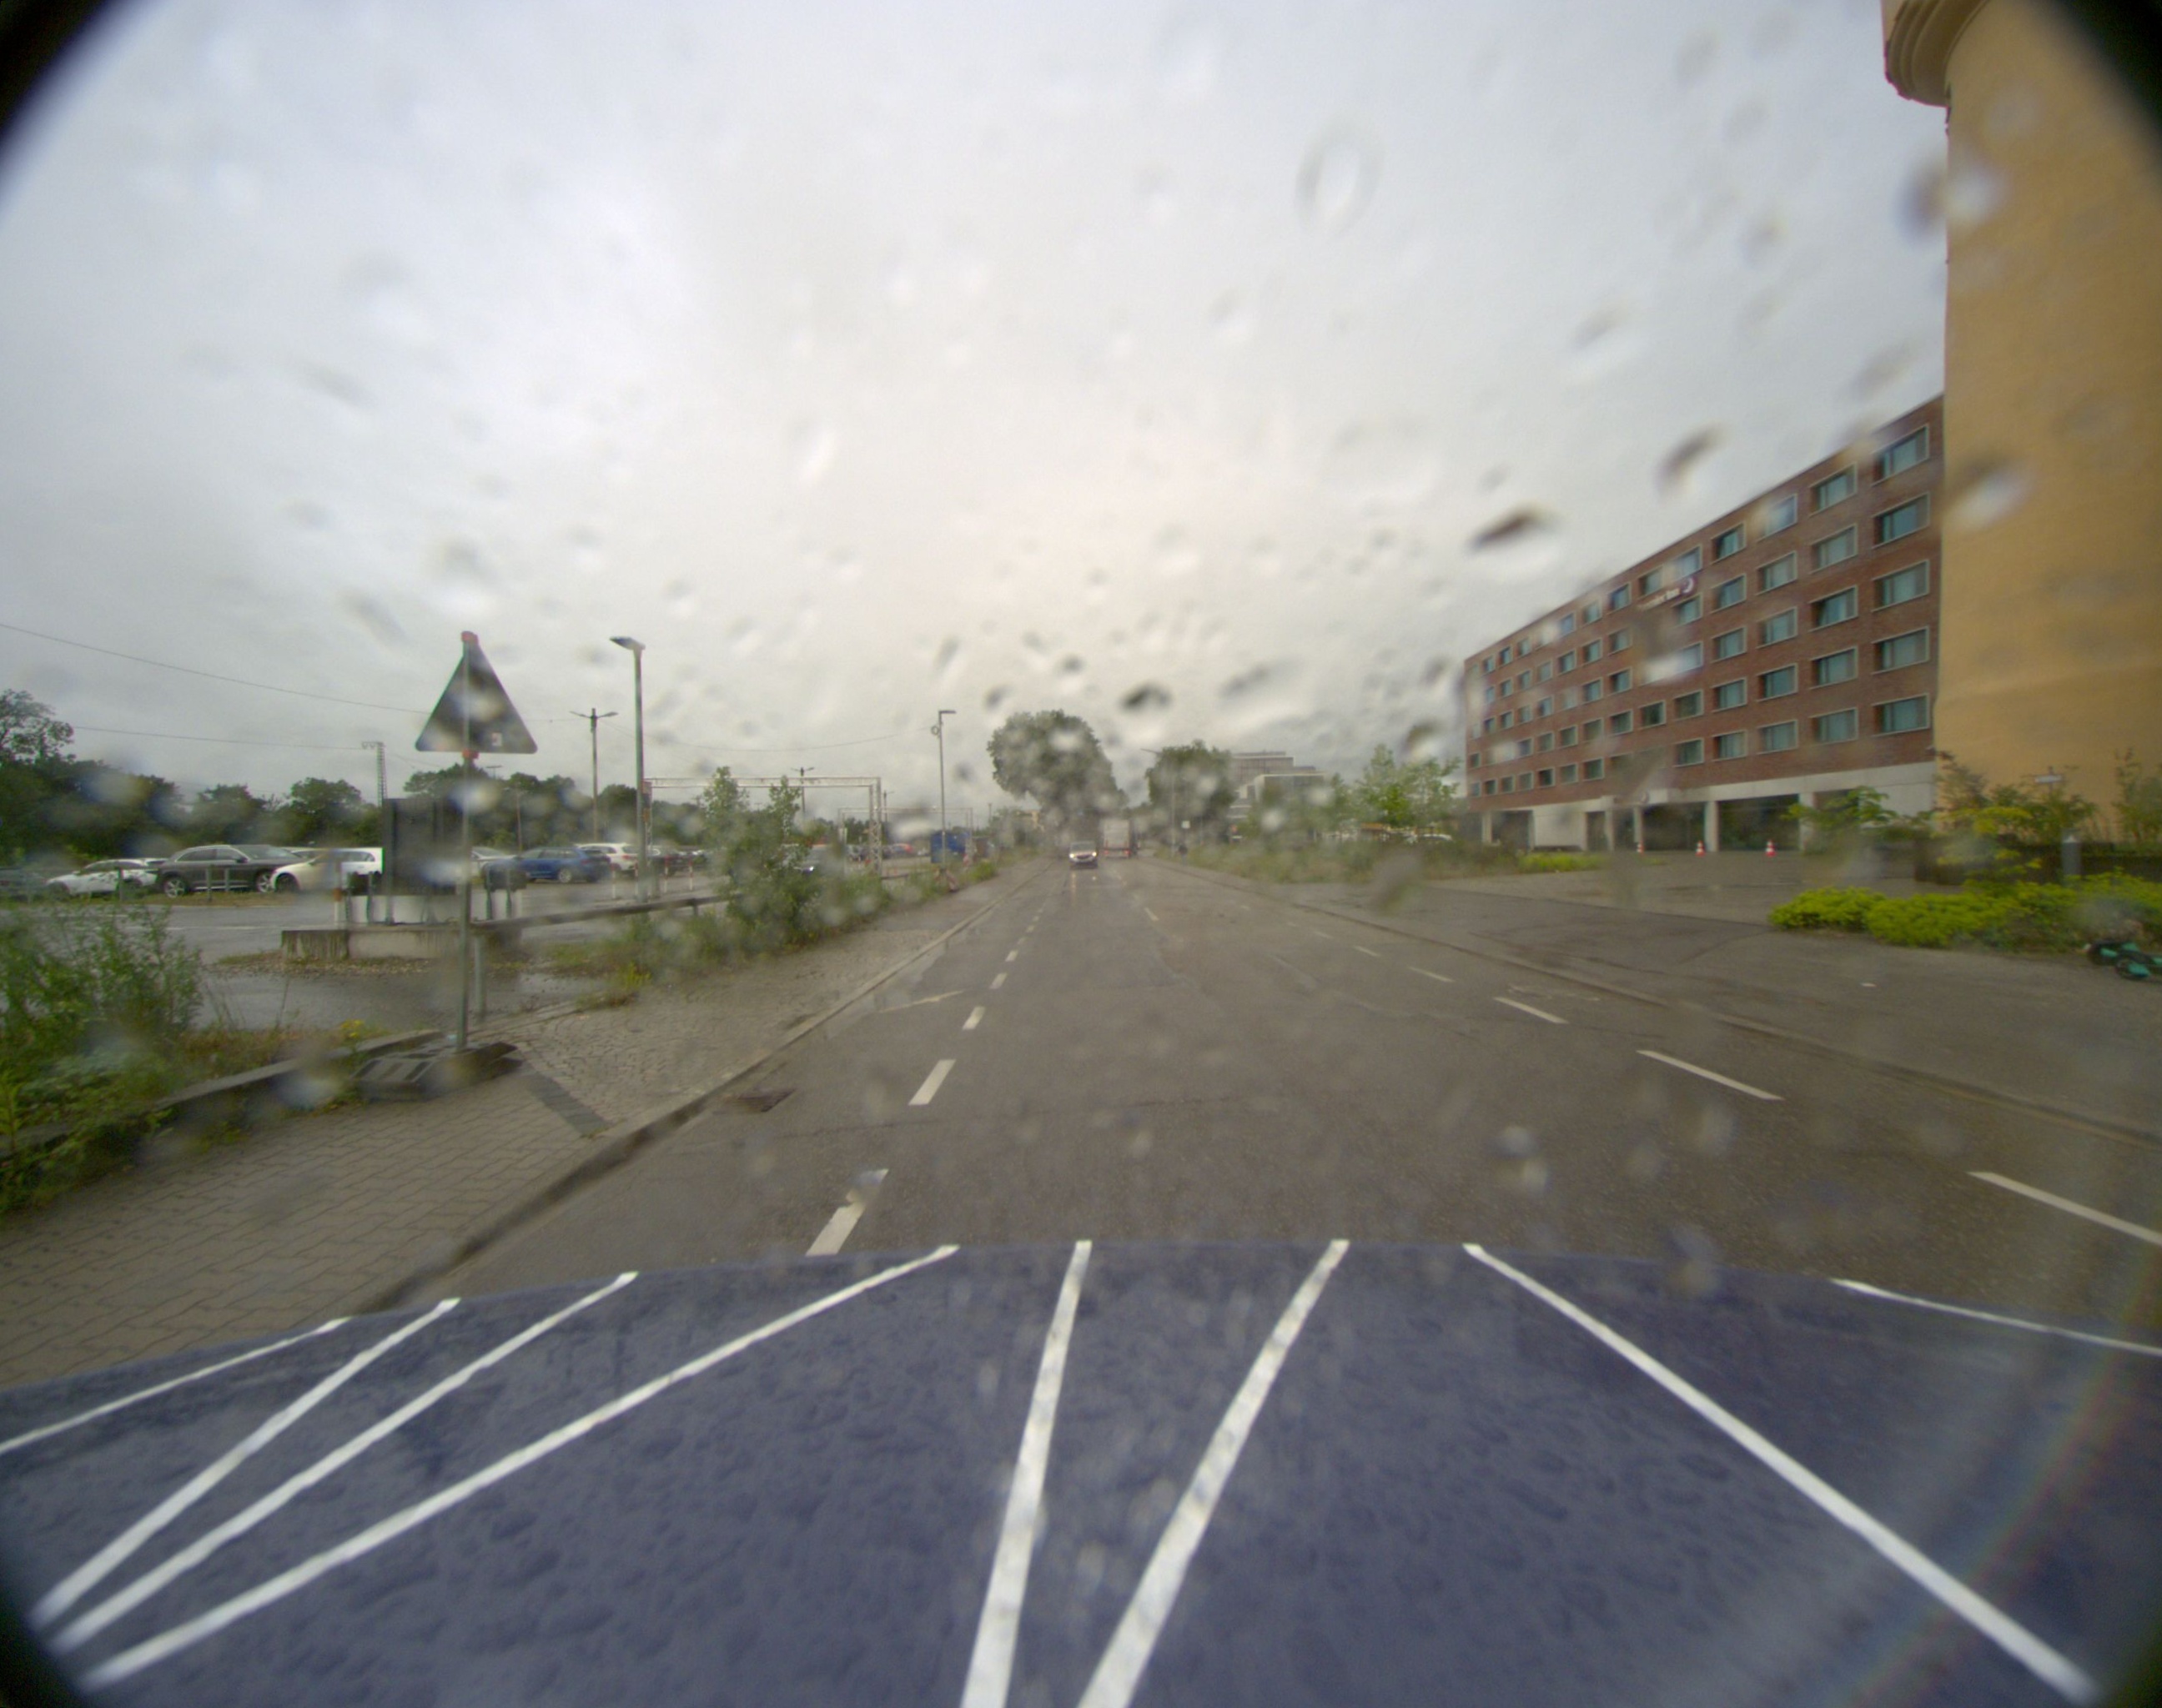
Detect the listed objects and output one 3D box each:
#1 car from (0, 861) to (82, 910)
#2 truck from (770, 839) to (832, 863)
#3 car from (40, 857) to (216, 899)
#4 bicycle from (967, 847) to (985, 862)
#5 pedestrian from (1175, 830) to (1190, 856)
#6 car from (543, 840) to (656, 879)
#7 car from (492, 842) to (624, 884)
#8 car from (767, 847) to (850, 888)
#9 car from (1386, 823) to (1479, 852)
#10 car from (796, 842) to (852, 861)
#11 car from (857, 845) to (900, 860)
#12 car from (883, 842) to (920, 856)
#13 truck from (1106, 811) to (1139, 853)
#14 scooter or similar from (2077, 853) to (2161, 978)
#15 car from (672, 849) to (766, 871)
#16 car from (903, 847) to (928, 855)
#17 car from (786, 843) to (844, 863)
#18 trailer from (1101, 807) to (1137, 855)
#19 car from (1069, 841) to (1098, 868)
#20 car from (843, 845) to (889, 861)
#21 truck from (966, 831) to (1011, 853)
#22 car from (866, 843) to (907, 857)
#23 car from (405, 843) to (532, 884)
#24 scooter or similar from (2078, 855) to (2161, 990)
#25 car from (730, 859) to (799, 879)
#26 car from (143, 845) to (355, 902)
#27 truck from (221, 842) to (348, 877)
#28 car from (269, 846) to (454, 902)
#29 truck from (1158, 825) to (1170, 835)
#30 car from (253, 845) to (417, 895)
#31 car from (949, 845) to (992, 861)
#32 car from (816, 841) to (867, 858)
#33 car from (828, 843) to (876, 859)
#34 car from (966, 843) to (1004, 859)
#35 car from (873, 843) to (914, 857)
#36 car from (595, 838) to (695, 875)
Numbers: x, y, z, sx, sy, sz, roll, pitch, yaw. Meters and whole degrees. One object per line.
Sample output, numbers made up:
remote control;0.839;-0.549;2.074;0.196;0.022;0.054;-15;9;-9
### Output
car;-37.812;1.064;26.097;4.328;1.580;2.021;0;1;1
truck;-27.559;-0.314;74.890;5.301;2.354;2.152;0;1;0
car;-37.657;0.921;30.118;4.328;1.580;2.021;0;1;0
bicycle;-7.611;0.047;55.190;0.507;1.078;1.705;0;1;21
pedestrian;6.798;-0.717;50.986;0.911;1.708;1.026;-1;2;1
car;-21.317;0.219;33.740;3.911;1.575;1.786;2;3;3
car;-21.140;0.326;30.829;4.054;1.476;1.927;2;2;3
car;-10.691;0.484;30.146;1.900;1.448;4.225;-1;1;-2
car;20.669;-0.971;44.785;4.533;1.632;1.999;-1;2;-2
car;-21.177;-0.198;62.753;3.961;1.482;1.777;1;2;3
car;-21.287;-0.146;80.054;3.961;1.419;1.886;1;2;3
car;-21.518;-0.608;91.274;3.961;1.529;1.807;1;2;3
truck;4.829;-2.465;87.110;3.300;4.627;6.035;0;1;8
scooter or similar;11.005;0.609;7.498;1.317;1.223;0.509;1;1;39
car;-21.419;0.344;45.086;4.599;1.214;1.977;1;2;-1
car;-29.600;-0.491;136.092;3.995;1.368;1.819;0;1;7
car;-21.043;-0.108;60.176;3.961;1.482;1.777;1;2;3
trailer;4.194;-2.325;80.306;3.301;4.627;13.735;0;1;5
car;0.171;0.038;50.829;1.838;1.714;4.172;1;0;-1
car;-21.038;-0.119;74.492;3.961;1.419;1.886;1;2;3
truck;-10.793;-1.440;89.156;5.046;2.389;2.109;-2;2;-2
car;-21.248;-0.486;82.906;3.961;1.419;1.821;1;2;3
car;-26.912;0.400;33.496;4.071;1.650;1.831;1;3;-1
scooter or similar;10.115;0.629;6.851;0.467;1.223;1.320;0;1;-2
car;-21.003;0.976;50.479;3.896;1.214;1.648;1;2;6
car;-26.633;0.593;24.445;4.713;1.596;1.926;1;2;1
truck;-48.226;0.304;46.214;2.086;2.002;5.279;0;1;2
car;-21.635;0.568;22.955;3.838;1.476;1.927;2;2;3
truck;21.706;-6.262;198.645;2.090;2.604;6.975;0;1;-1
car;-27.087;0.545;27.680;4.070;1.596;1.926;1;2;1
car;-10.435;-0.103;71.961;3.781;1.385;1.905;-2;2;-2
car;-21.721;-0.421;69.068;3.961;1.419;1.886;1;2;3
car;-21.470;-0.288;71.294;3.961;1.419;1.886;1;2;3
car;-10.453;-0.305;82.640;3.906;1.586;1.896;-2;2;-2
car;-21.083;-0.454;85.657;4.075;1.482;1.925;1;2;3
car;-20.865;0.102;36.415;3.783;1.575;1.786;2;3;3
